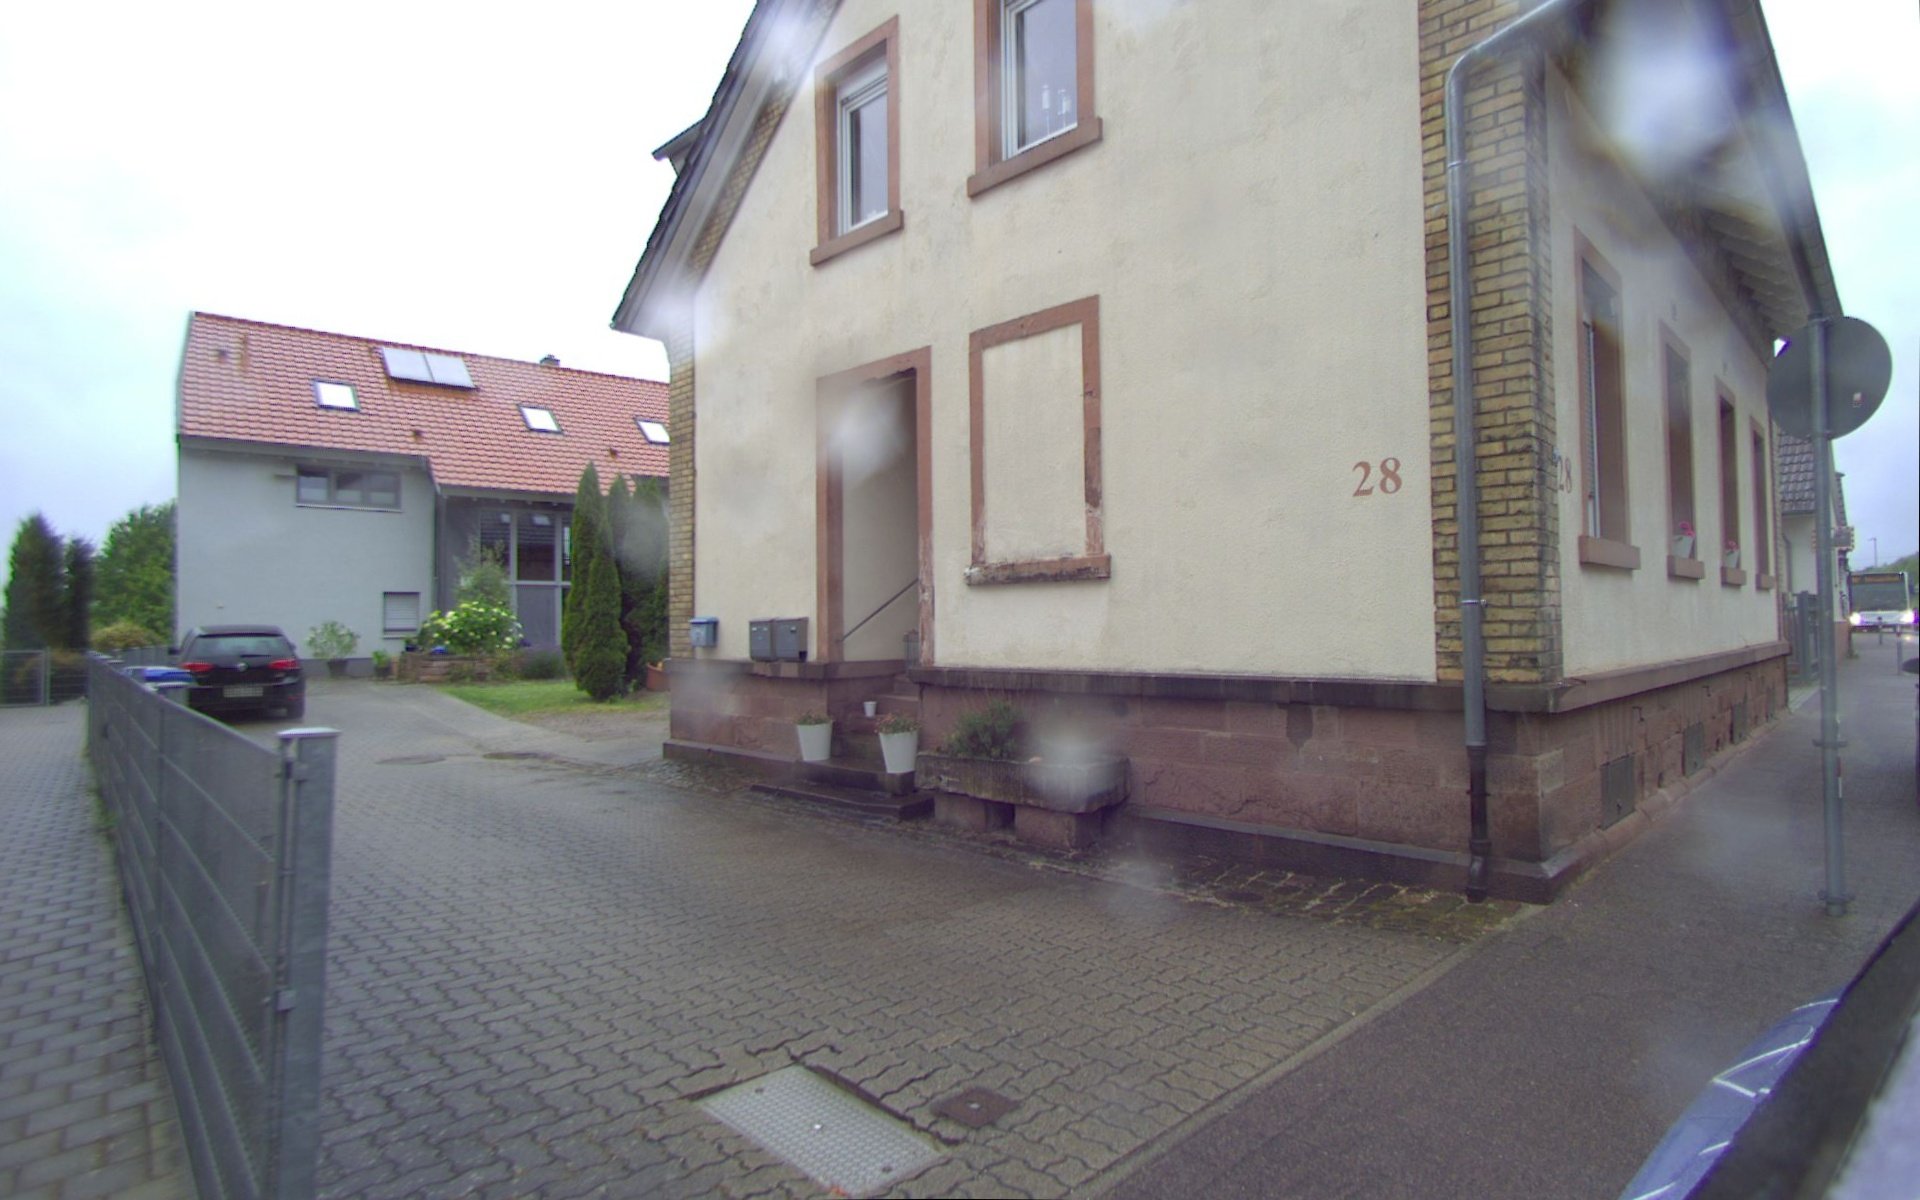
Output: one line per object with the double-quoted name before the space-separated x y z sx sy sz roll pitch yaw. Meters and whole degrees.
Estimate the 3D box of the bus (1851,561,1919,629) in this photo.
"bus" 49.865 -0.292 54.475 2.658 3.273 12.013 -1 0 40

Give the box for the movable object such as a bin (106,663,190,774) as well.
"movable object such as a bin" -8.828 1.265 11.008 0.676 1.110 0.535 0 -1 -43

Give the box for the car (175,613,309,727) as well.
"car" -12.043 1.052 16.895 1.653 1.491 3.998 0 2 -38

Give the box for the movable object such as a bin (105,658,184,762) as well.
"movable object such as a bin" -9.403 1.248 11.669 0.676 1.110 0.535 0 -1 -43

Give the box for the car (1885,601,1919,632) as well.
"car" 64.718 1.119 69.166 1.991 2.039 3.942 -1 0 40
